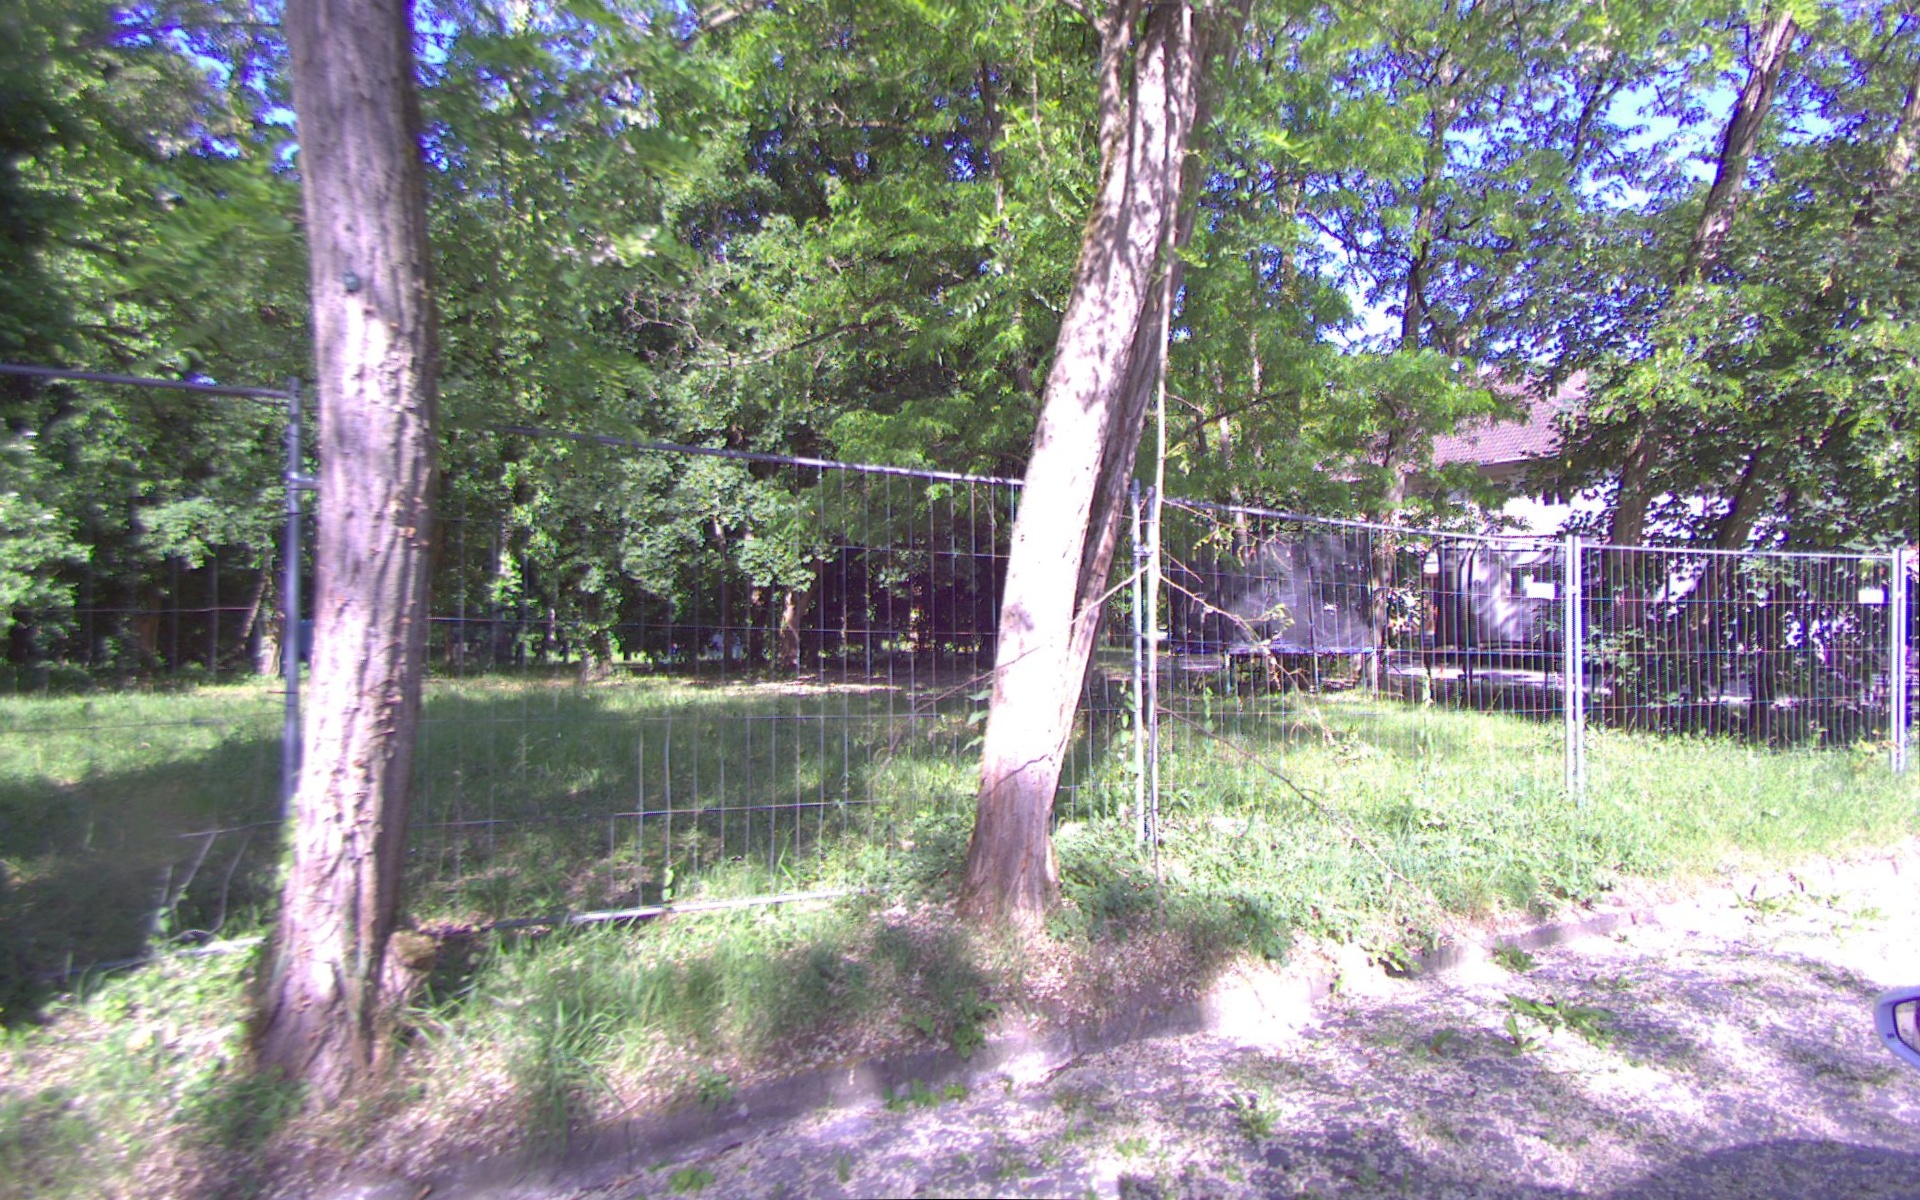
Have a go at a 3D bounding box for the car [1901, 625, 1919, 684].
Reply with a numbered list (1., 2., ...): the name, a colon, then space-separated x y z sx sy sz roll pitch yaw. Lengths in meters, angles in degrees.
1. car: 33.298 1.740 31.913 1.982 1.927 4.676 2 -3 -37
